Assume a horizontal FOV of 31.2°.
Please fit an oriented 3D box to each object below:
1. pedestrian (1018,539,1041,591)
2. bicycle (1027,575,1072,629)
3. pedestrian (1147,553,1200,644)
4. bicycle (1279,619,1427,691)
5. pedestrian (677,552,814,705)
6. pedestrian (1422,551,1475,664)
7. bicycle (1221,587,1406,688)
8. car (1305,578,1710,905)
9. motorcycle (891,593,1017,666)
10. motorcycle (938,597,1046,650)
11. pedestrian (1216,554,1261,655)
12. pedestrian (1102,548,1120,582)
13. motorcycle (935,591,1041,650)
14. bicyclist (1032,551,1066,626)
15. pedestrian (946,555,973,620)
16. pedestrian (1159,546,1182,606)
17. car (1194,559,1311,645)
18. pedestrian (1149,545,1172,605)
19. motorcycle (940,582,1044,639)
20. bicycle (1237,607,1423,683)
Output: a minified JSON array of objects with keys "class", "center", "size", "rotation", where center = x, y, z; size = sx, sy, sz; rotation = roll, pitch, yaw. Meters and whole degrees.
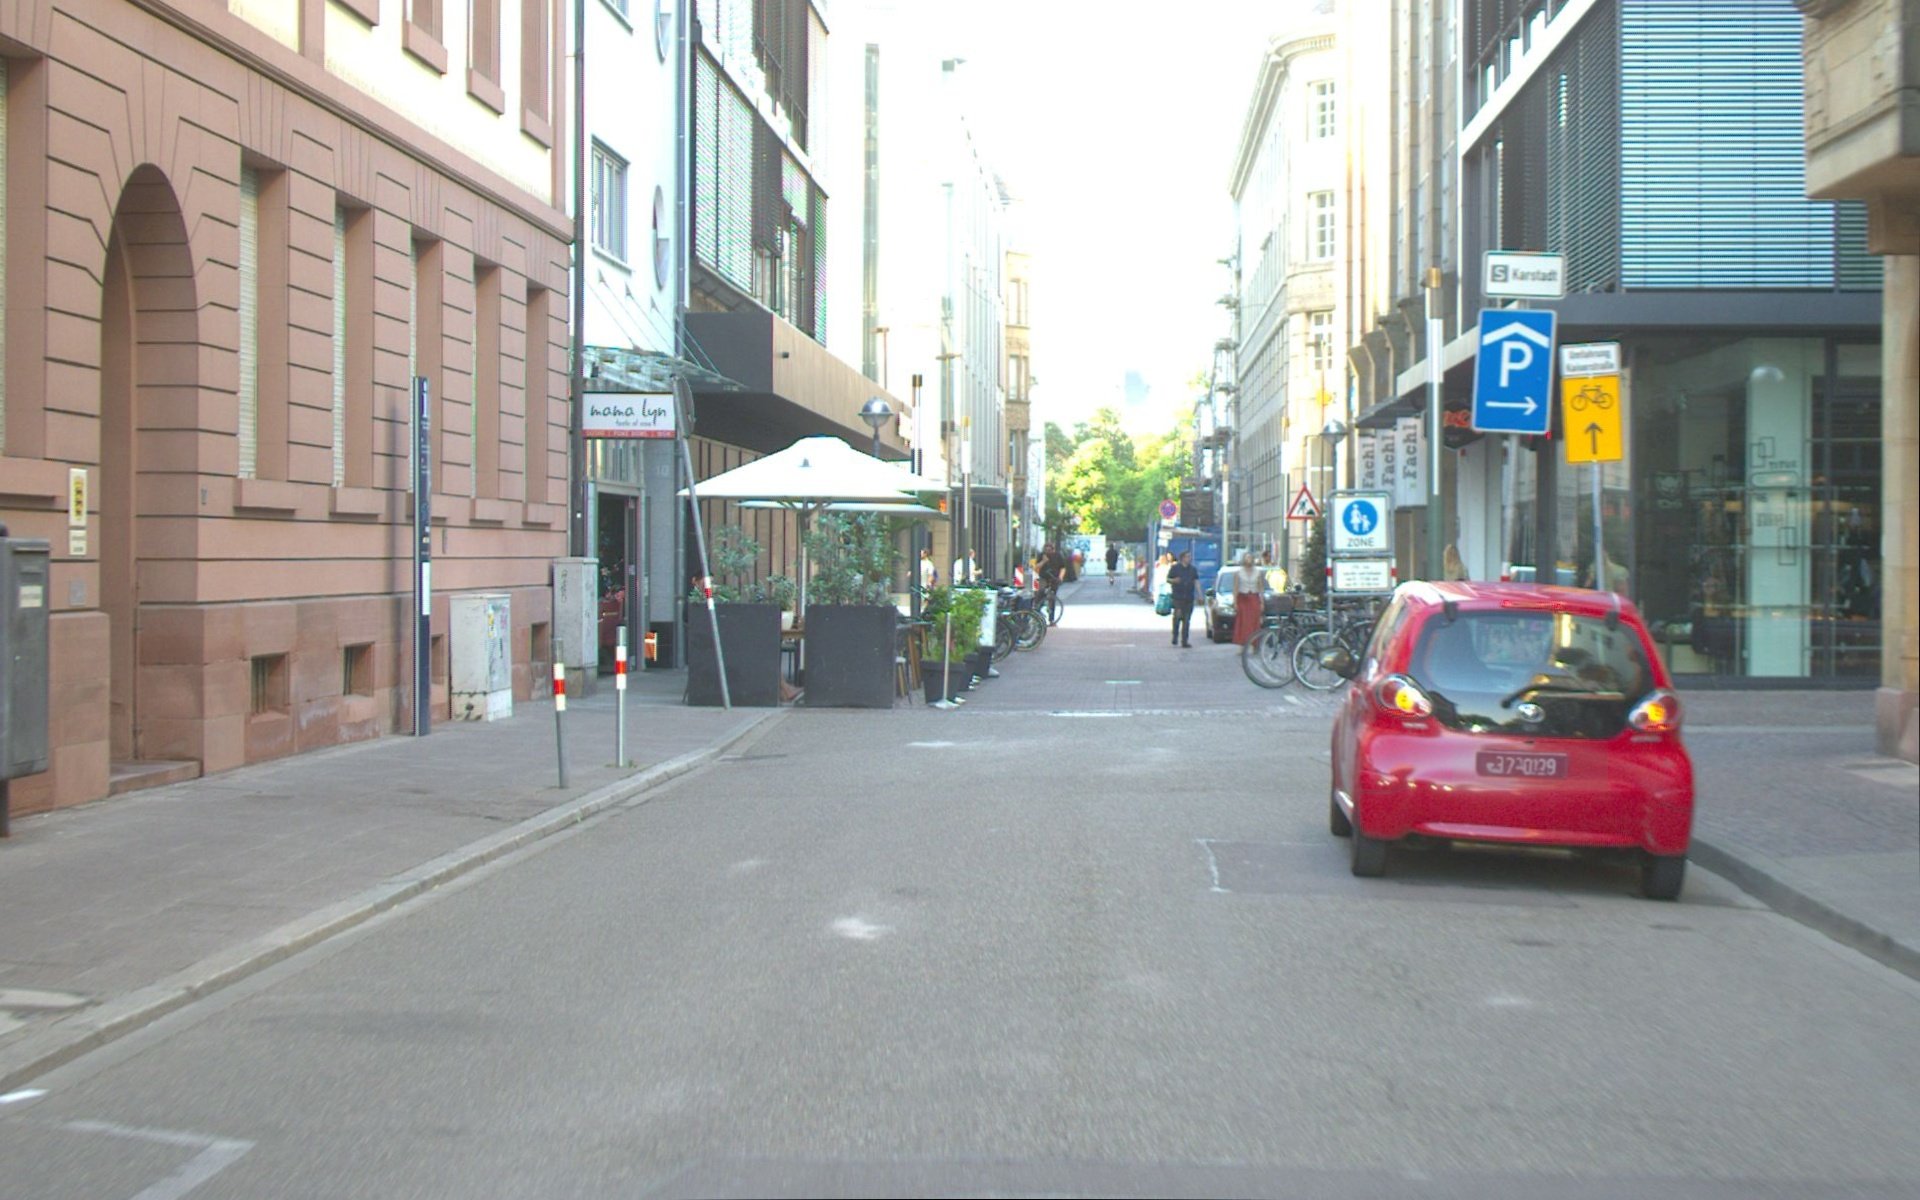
[{"class":"pedestrian","center":[2.201,-1.100,108.570],"size":[0.678,1.617,0.625],"rotation":[1,1,5]},{"class":"bicycle","center":[1.937,0.032,74.855],"size":[0.636,1.153,2.502],"rotation":[0,1,-6]},{"class":"pedestrian","center":[4.023,-0.028,64.844],"size":[0.865,1.707,0.852],"rotation":[0,1,-6]},{"class":"bicycle","center":[4.354,0.609,38.100],"size":[1.565,0.766,0.557],"rotation":[0,1,-1]},{"class":"pedestrian","center":[-2.109,0.275,33.851],"size":[1.290,1.482,0.661],"rotation":[0,1,1]},{"class":"pedestrian","center":[6.462,0.094,45.513],"size":[0.657,1.482,0.493],"rotation":[1,1,5]},{"class":"bicycle","center":[4.060,0.430,39.579],"size":[2.052,1.130,0.649],"rotation":[0,1,-1]},{"class":"car","center":[2.734,0.650,17.831],"size":[1.649,1.422,3.535],"rotation":[3,1,3]},{"class":"motorcycle","center":[-0.095,0.422,49.728],"size":[1.801,1.037,0.494],"rotation":[0,1,-1]},{"class":"motorcycle","center":[0.533,0.398,57.826],"size":[1.801,0.872,0.560],"rotation":[0,1,-1]},{"class":"pedestrian","center":[4.450,0.069,54.985],"size":[0.633,1.614,0.466],"rotation":[0,1,-6]},{"class":"pedestrian","center":[7.358,-1.704,167.548],"size":[0.805,1.667,0.888],"rotation":[0,1,5]},{"class":"motorcycle","center":[0.477,0.351,58.858],"size":[1.801,0.986,0.560],"rotation":[0,1,-1]},{"class":"bicyclist","center":[1.934,-0.253,74.939],"size":[0.636,1.635,0.772],"rotation":[0,1,-6]},{"class":"pedestrian","center":[-0.012,-0.316,87.042],"size":[0.603,1.617,0.529],"rotation":[0,1,-7]},{"class":"pedestrian","center":[5.656,-0.644,92.253],"size":[0.604,1.617,0.529],"rotation":[1,1,5]},{"class":"car","center":[5.672,0.007,67.071],"size":[1.993,1.605,4.000],"rotation":[0,1,1]},{"class":"pedestrian","center":[5.422,-0.676,92.977],"size":[0.604,1.617,0.625],"rotation":[1,1,5]},{"class":"motorcycle","center":[0.563,0.183,60.495],"size":[1.801,0.986,0.560],"rotation":[0,1,-1]},{"class":"bicycle","center":[4.537,0.549,42.202],"size":[2.200,0.902,0.649],"rotation":[0,1,-1]}]
